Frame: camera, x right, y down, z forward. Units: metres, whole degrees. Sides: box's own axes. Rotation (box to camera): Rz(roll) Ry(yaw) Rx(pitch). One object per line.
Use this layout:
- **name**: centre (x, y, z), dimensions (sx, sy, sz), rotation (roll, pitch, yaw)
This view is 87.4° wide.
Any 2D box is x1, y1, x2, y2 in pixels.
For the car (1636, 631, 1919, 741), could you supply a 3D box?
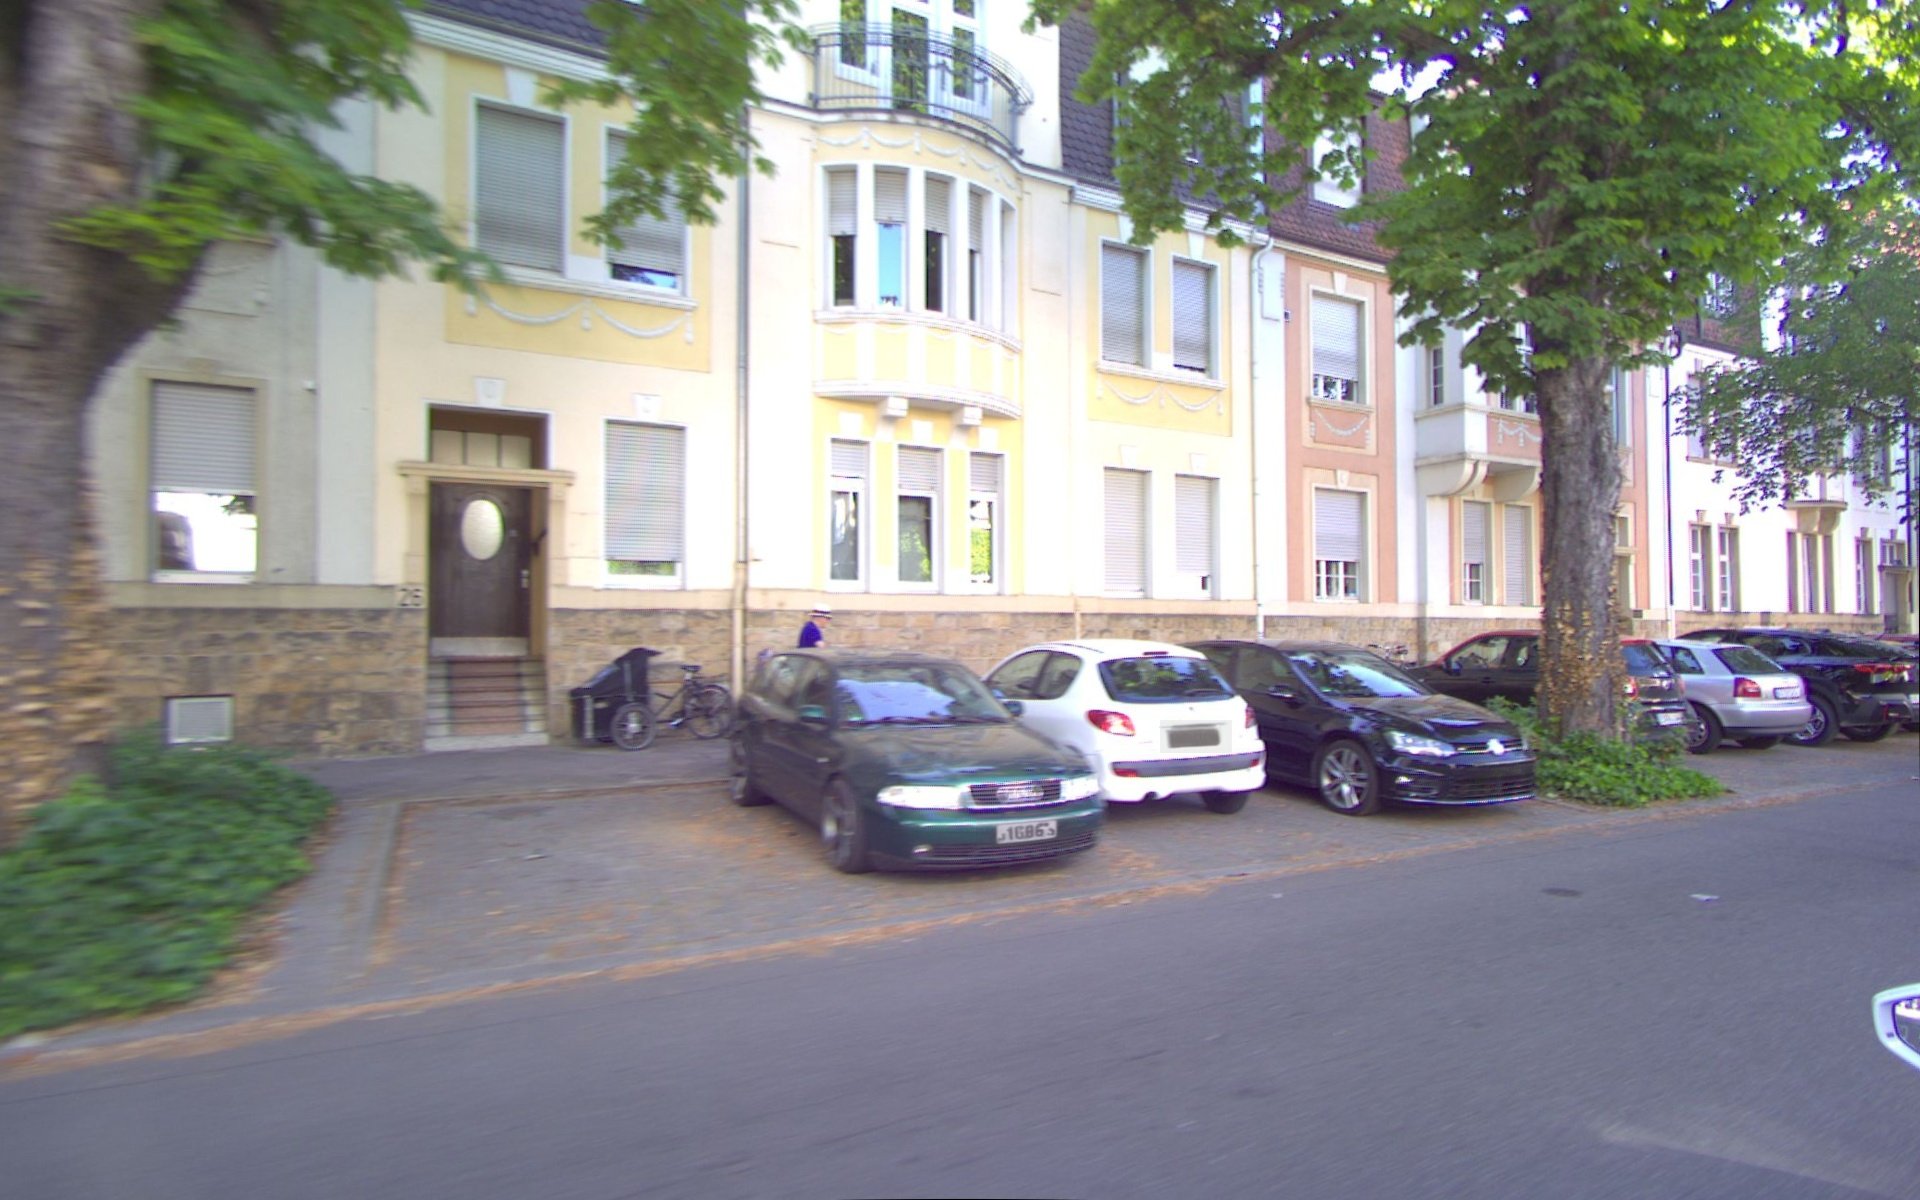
- **car**: centre (13.420, 1.276, 16.218), dimensions (1.839, 1.481, 3.777), rotation (1, -1, -26)

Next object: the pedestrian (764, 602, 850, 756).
- **pedestrian**: centre (-1.734, 0.879, 11.381), dimensions (0.881, 1.680, 0.459), rotation (1, -2, -20)

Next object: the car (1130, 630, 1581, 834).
- **car**: centre (3.550, 1.074, 9.797), dimensions (1.762, 1.502, 3.974), rotation (1, -2, -26)

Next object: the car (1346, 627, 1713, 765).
- **car**: centre (7.295, 1.177, 13.334), dimensions (1.700, 1.527, 3.975), rotation (1, -3, -26)

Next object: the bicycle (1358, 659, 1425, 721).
- **bicycle**: centre (7.872, 1.626, 18.323), dimensions (1.239, 1.079, 0.431), rotation (1, -2, -28)

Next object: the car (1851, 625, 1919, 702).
- **car**: centre (21.595, 1.363, 21.091), dimensions (1.836, 1.613, 3.971), rotation (1, -1, -28)

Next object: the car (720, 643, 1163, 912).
- **car**: centre (-0.458, 1.058, 7.666), dimensions (1.682, 1.366, 4.196), rotation (2, -2, -28)

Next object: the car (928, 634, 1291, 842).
- **car**: centre (1.161, 1.081, 9.223), dimensions (1.680, 1.471, 3.423), rotation (2, -2, -25)

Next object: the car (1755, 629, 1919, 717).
- **car**: centre (17.424, 1.328, 18.552), dimensions (1.725, 1.534, 3.972), rotation (2, -2, -28)

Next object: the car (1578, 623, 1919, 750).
- **car**: centre (11.735, 1.161, 14.958), dimensions (1.839, 1.587, 3.974), rotation (1, -1, -26)

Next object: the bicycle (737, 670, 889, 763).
- **bicycle**: centre (-1.587, 1.240, 10.898), dimensions (1.573, 0.924, 0.471), rotation (1, -2, -21)

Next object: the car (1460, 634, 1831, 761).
- **car**: centre (9.413, 1.240, 14.160), dimensions (1.806, 1.422, 3.973), rotation (1, -1, -26)

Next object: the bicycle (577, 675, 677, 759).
- **bicycle**: centre (-3.728, 1.291, 11.244), dimensions (0.956, 0.826, 0.570), rotation (1, 1, -30)
